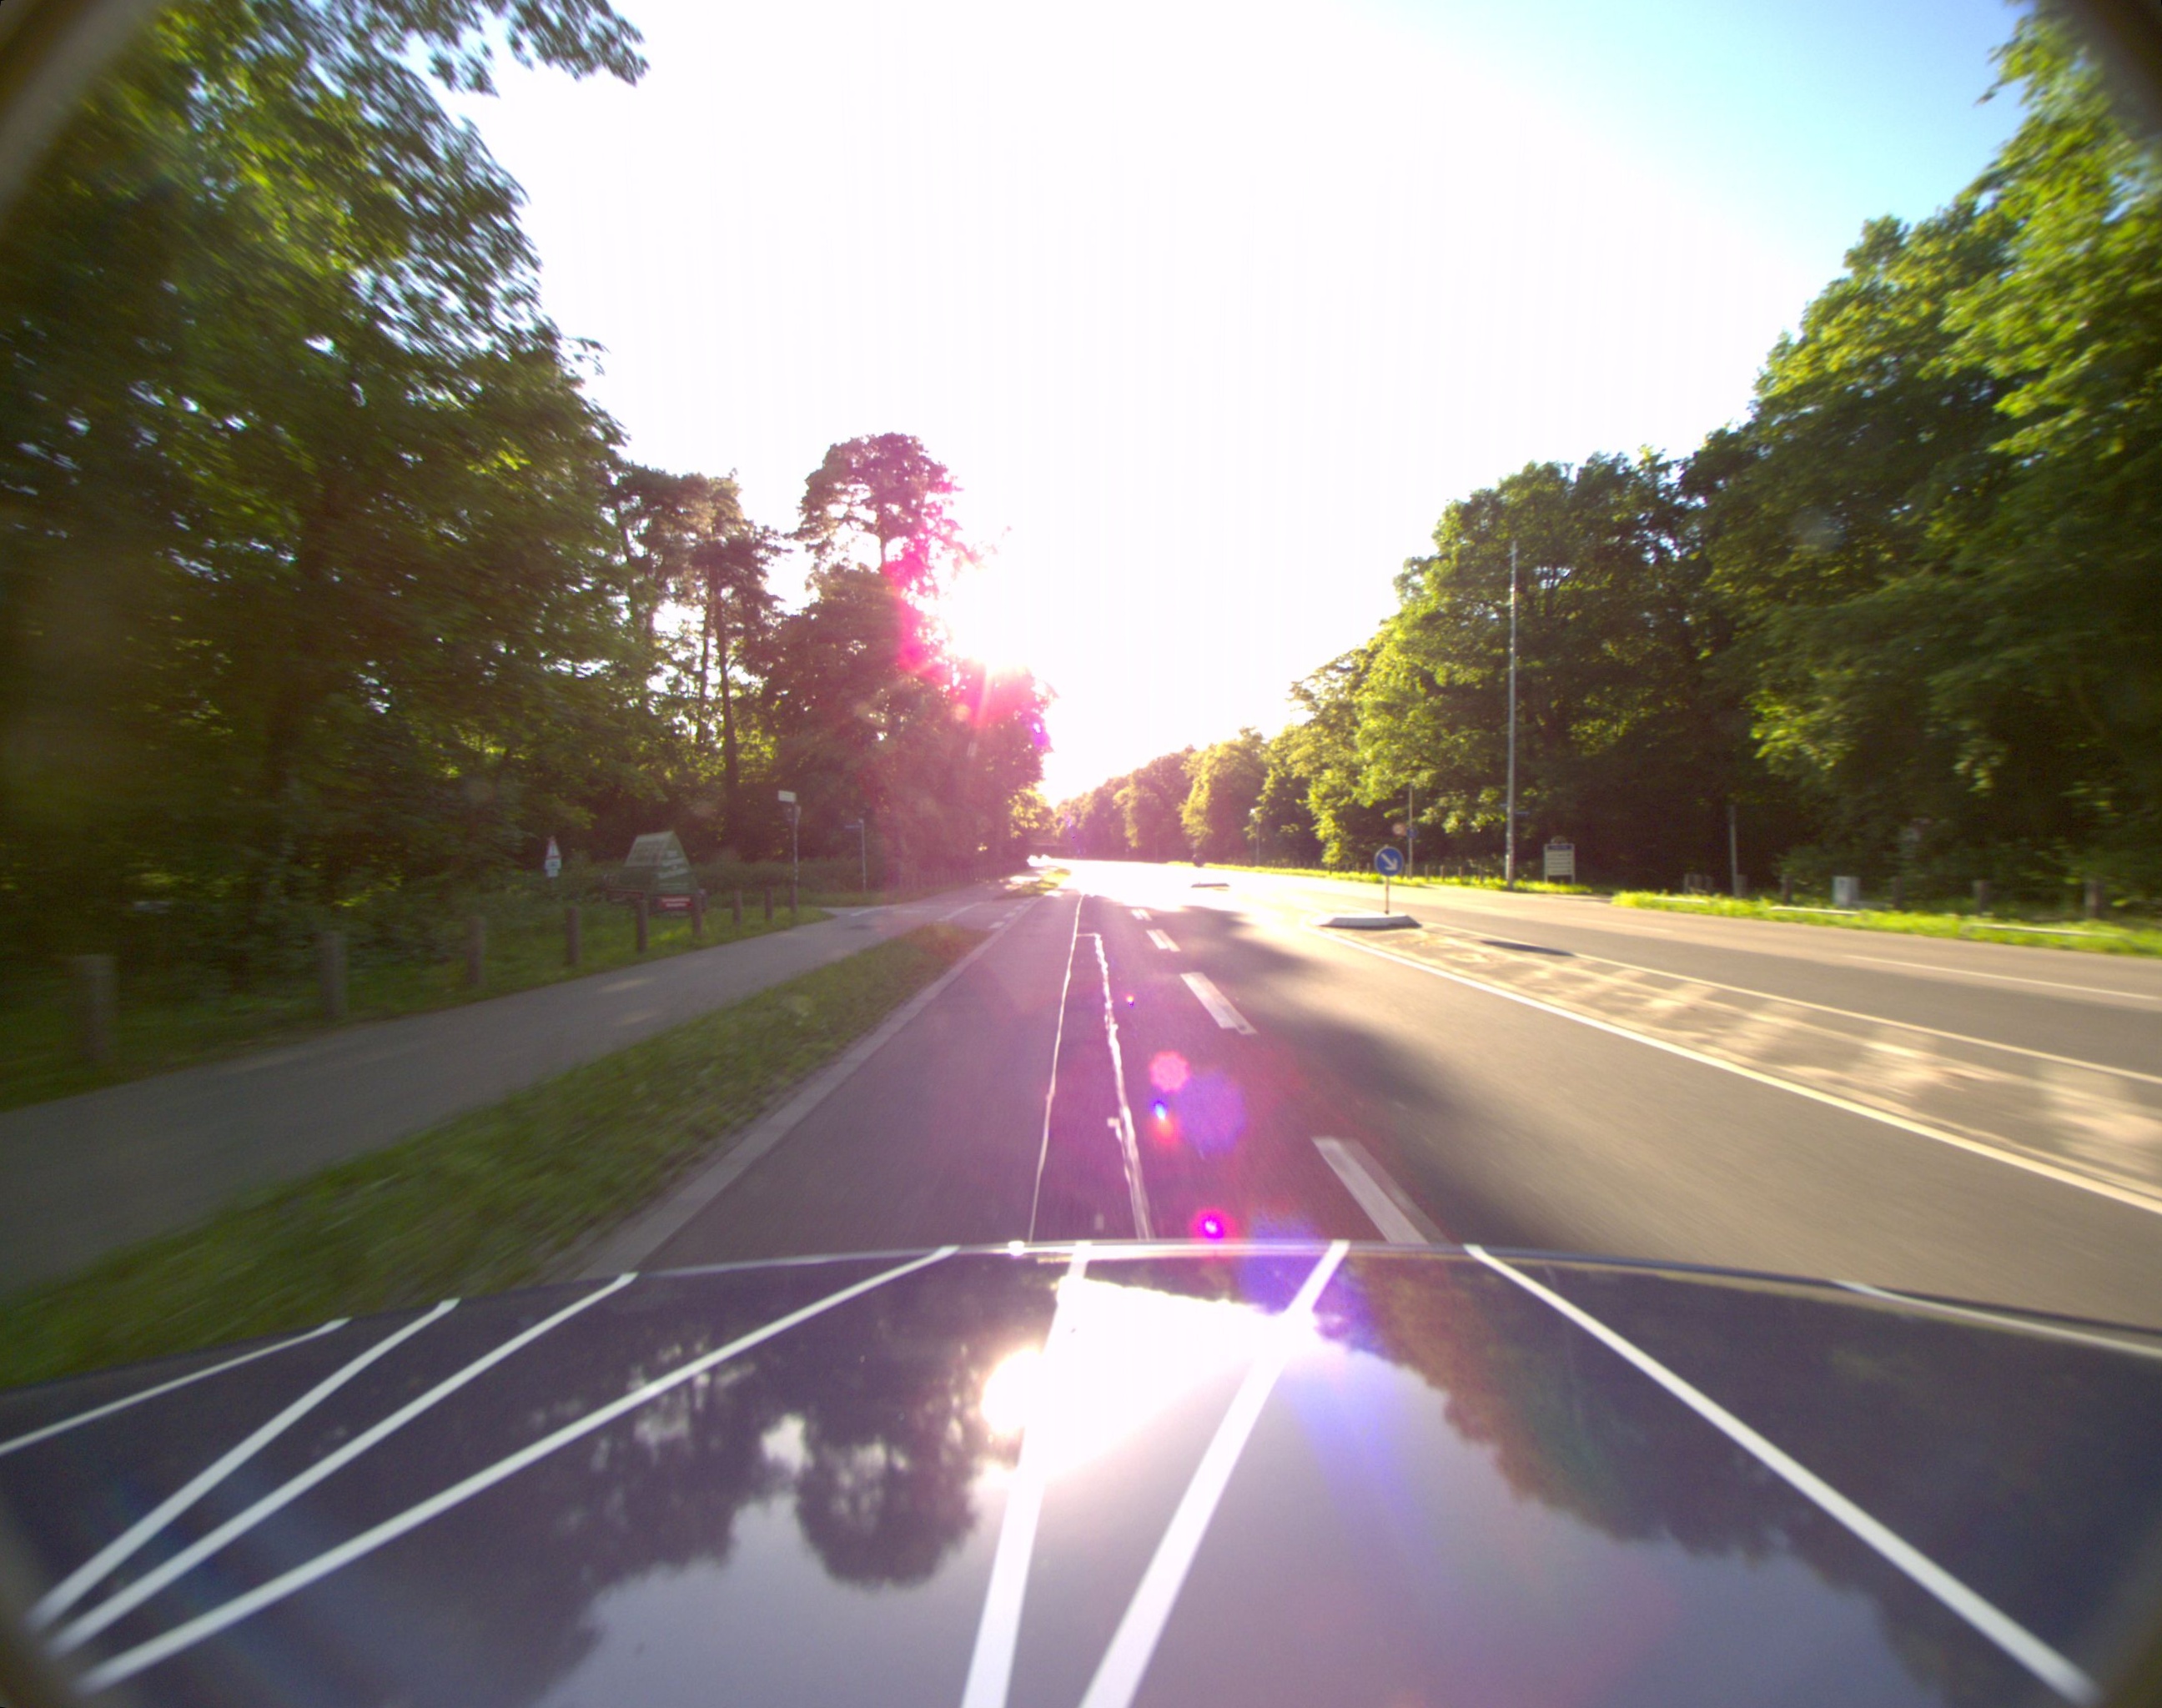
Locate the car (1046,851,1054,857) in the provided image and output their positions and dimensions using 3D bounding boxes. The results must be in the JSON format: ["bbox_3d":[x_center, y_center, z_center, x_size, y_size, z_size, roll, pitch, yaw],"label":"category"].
[{"bbox_3d":[-9.096,0.068,221.879,1.827,1.674,3.997,-1,0,-8],"label":"car"}]

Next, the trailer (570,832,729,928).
[{"bbox_3d":[-10.338,0.543,18.078,4.215,2.010,2.004,0,1,42],"label":"trailer"}]

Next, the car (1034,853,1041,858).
[{"bbox_3d":[-14.557,0.457,254.786,1.827,1.674,3.996,-1,0,-10],"label":"car"}]
